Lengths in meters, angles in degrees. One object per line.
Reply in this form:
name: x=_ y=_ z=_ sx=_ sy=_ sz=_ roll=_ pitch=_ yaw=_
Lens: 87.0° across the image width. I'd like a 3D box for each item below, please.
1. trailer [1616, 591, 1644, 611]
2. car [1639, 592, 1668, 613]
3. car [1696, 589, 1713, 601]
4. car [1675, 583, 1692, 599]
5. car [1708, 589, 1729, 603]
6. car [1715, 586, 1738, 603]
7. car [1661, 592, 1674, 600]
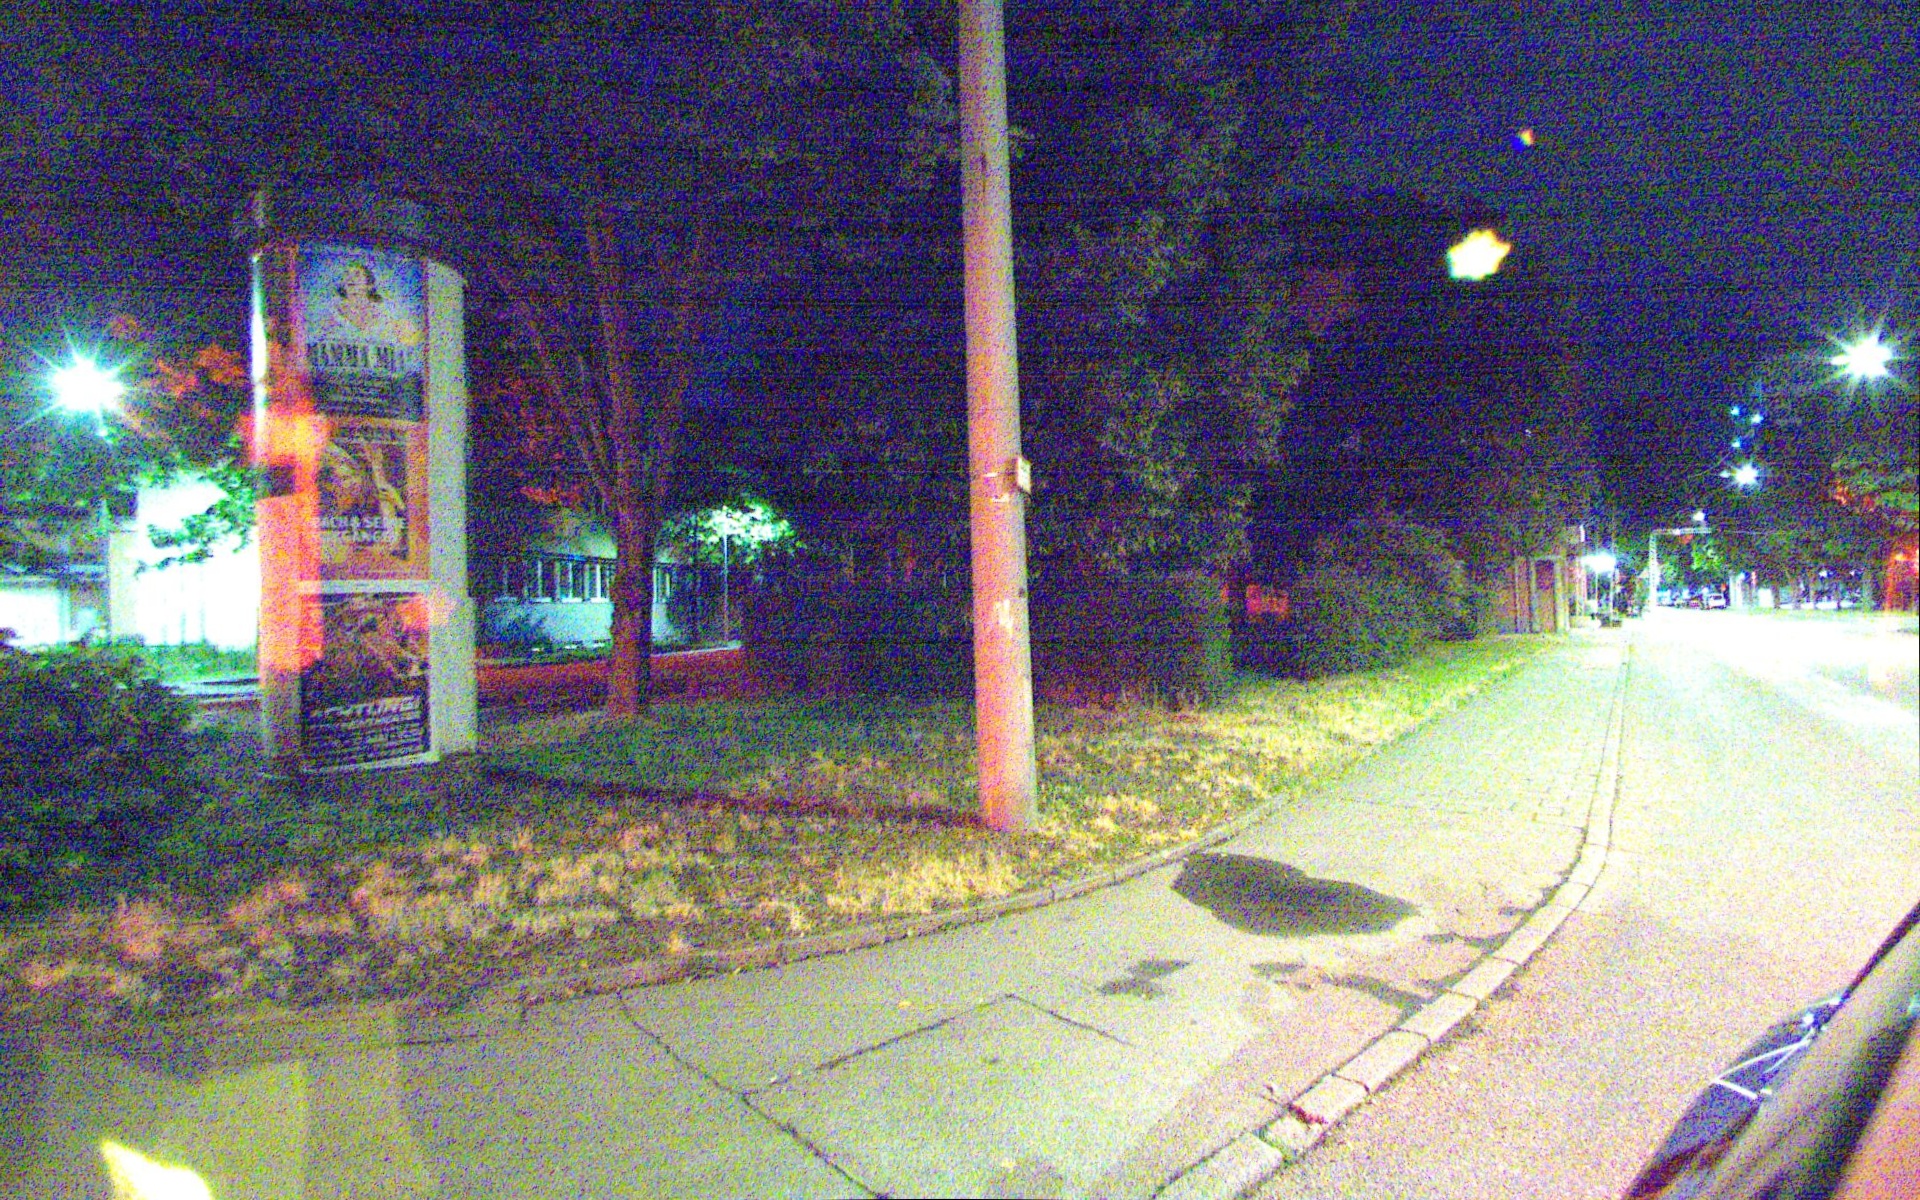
trailer: x=54.072 y=0.070 z=81.630 sx=1.596 sy=1.514 sz=3.683 roll=-3 pitch=-2 yaw=37
car: x=50.410 y=0.171 z=73.525 sx=1.582 sy=1.480 sz=3.747 roll=-3 pitch=-1 yaw=36
car: x=103.498 y=-0.665 z=140.692 sx=1.815 sy=1.668 sz=3.684 roll=-1 pitch=0 yaw=35
car: x=127.358 y=-1.597 z=178.140 sx=1.990 sy=2.540 sz=4.898 roll=-5 pitch=-3 yaw=32
car: x=91.702 y=-0.486 z=122.362 sx=1.815 sy=1.450 sz=3.684 roll=-5 pitch=-3 yaw=35
car: x=88.779 y=-0.621 z=117.230 sx=1.871 sy=1.832 sz=3.684 roll=-5 pitch=-3 yaw=35
car: x=140.985 y=-0.763 z=201.709 sx=1.813 sy=1.450 sz=3.689 roll=-5 pitch=-3 yaw=32
